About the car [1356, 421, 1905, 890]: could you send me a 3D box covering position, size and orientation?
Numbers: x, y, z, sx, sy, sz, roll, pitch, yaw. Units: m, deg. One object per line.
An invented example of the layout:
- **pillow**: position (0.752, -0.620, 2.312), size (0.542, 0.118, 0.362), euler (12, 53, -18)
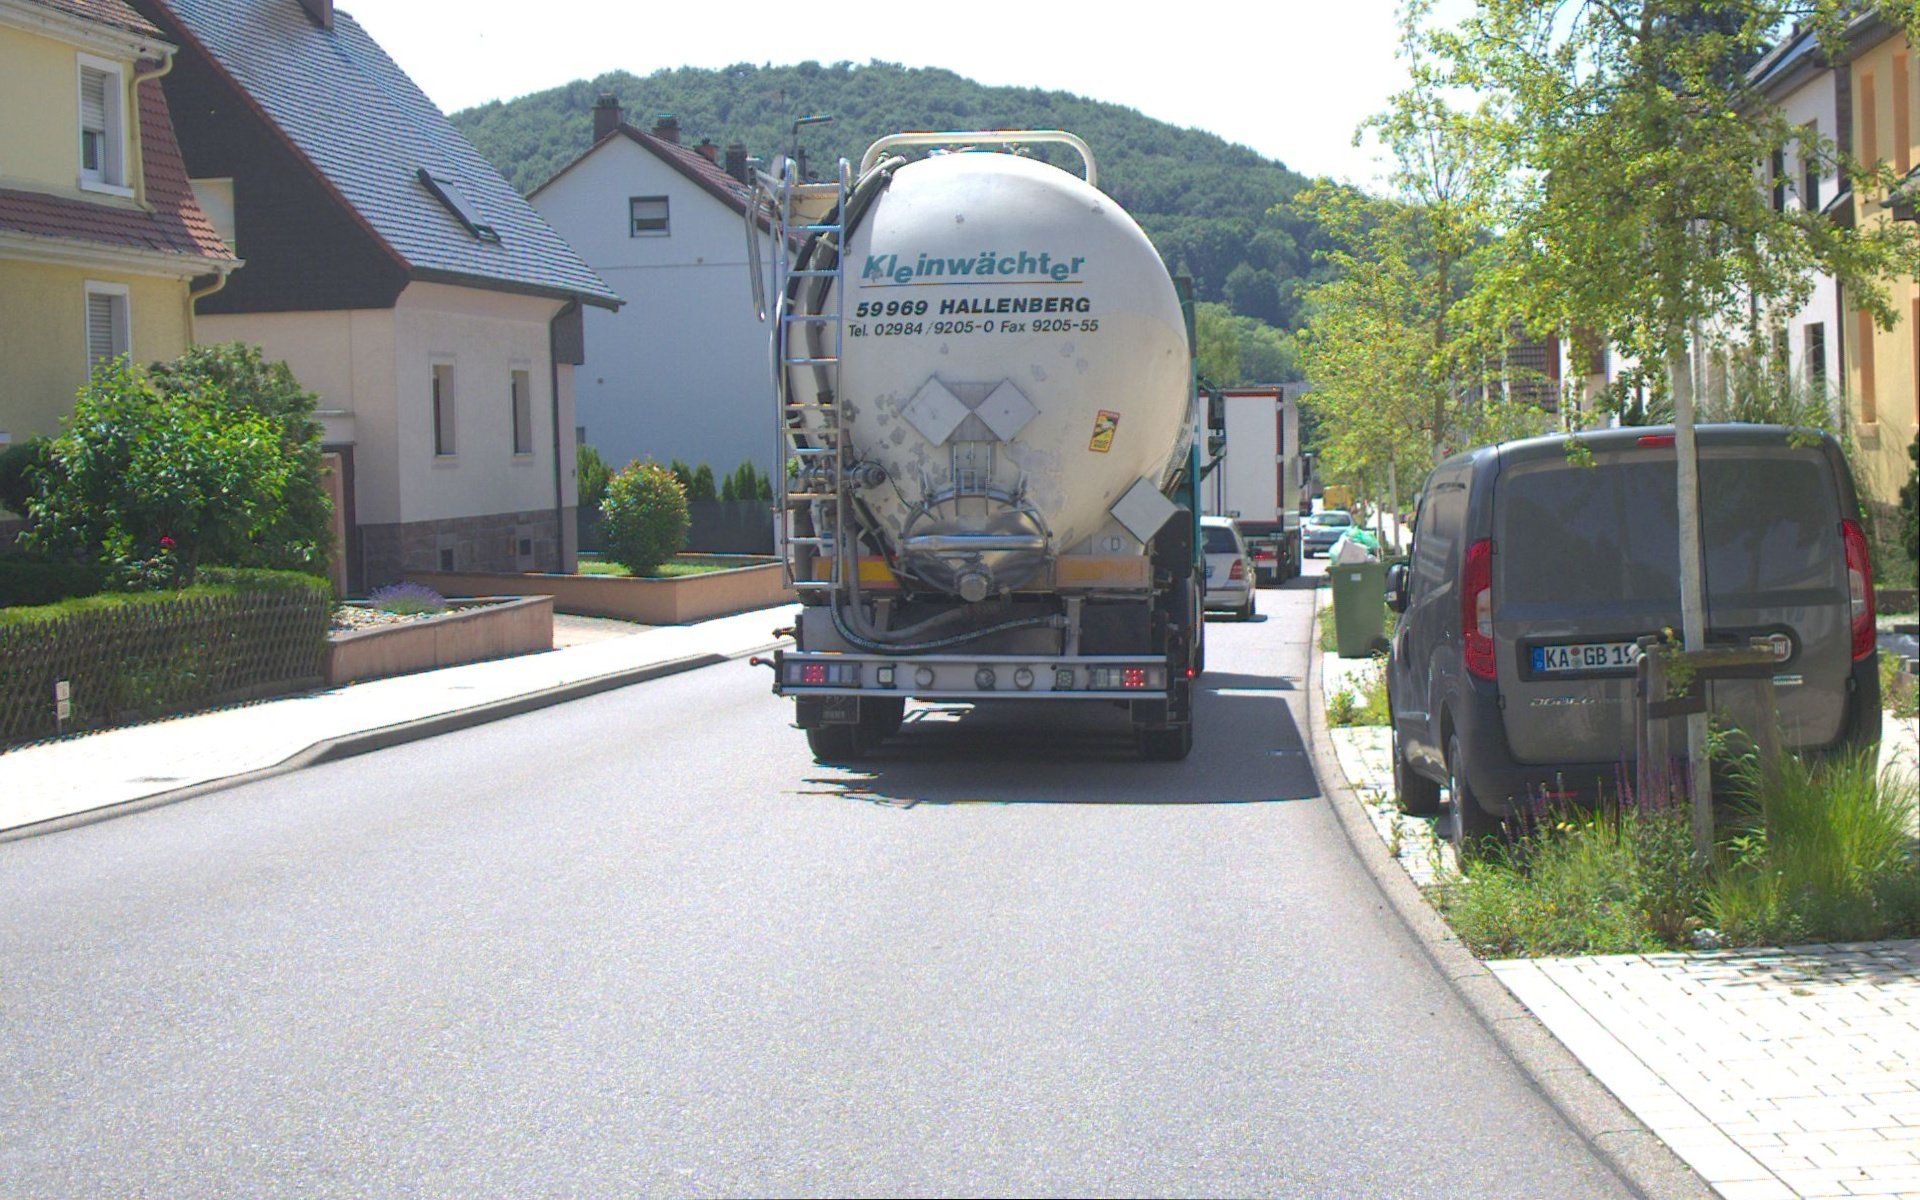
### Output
- **car**: position (2.980, 0.161, 16.248), size (1.855, 1.836, 4.670), euler (-2, 2, 3)

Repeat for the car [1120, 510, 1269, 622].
- **car**: position (3.595, -0.548, 52.073), size (1.909, 1.549, 3.999), euler (-2, 2, 8)

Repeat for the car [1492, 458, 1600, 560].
- **car**: position (12.746, -1.983, 74.998), size (1.852, 1.964, 4.772), euler (-6, 1, 6)

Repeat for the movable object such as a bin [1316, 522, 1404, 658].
- **movable object such as a bin**: position (4.328, -0.114, 37.261), size (0.792, 1.390, 0.925), euler (-5, 1, 4)

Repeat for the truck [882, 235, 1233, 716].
- **truck**: position (1.030, -1.126, 31.213), size (2.809, 3.923, 6.098), euler (0, 2, 5)

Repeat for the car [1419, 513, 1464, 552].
- **car**: position (20.022, -2.812, 142.891), size (1.791, 1.536, 4.518), euler (-1, 1, 8)

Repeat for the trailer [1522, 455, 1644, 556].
- **trailer**: position (12.659, -1.924, 69.843), size (2.267, 2.007, 1.324), euler (-1, 2, -41)

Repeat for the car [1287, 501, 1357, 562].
- **car**: position (10.956, -2.082, 104.233), size (1.994, 1.815, 4.000), euler (0, 1, 4)

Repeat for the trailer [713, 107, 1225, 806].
- **trailer**: position (0.443, -0.991, 24.896), size (2.797, 3.987, 10.323), euler (0, 2, 5)

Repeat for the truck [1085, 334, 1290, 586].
- **truck**: position (4.897, -2.936, 73.584), size (3.911, 4.878, 9.795), euler (-2, 1, 4)
